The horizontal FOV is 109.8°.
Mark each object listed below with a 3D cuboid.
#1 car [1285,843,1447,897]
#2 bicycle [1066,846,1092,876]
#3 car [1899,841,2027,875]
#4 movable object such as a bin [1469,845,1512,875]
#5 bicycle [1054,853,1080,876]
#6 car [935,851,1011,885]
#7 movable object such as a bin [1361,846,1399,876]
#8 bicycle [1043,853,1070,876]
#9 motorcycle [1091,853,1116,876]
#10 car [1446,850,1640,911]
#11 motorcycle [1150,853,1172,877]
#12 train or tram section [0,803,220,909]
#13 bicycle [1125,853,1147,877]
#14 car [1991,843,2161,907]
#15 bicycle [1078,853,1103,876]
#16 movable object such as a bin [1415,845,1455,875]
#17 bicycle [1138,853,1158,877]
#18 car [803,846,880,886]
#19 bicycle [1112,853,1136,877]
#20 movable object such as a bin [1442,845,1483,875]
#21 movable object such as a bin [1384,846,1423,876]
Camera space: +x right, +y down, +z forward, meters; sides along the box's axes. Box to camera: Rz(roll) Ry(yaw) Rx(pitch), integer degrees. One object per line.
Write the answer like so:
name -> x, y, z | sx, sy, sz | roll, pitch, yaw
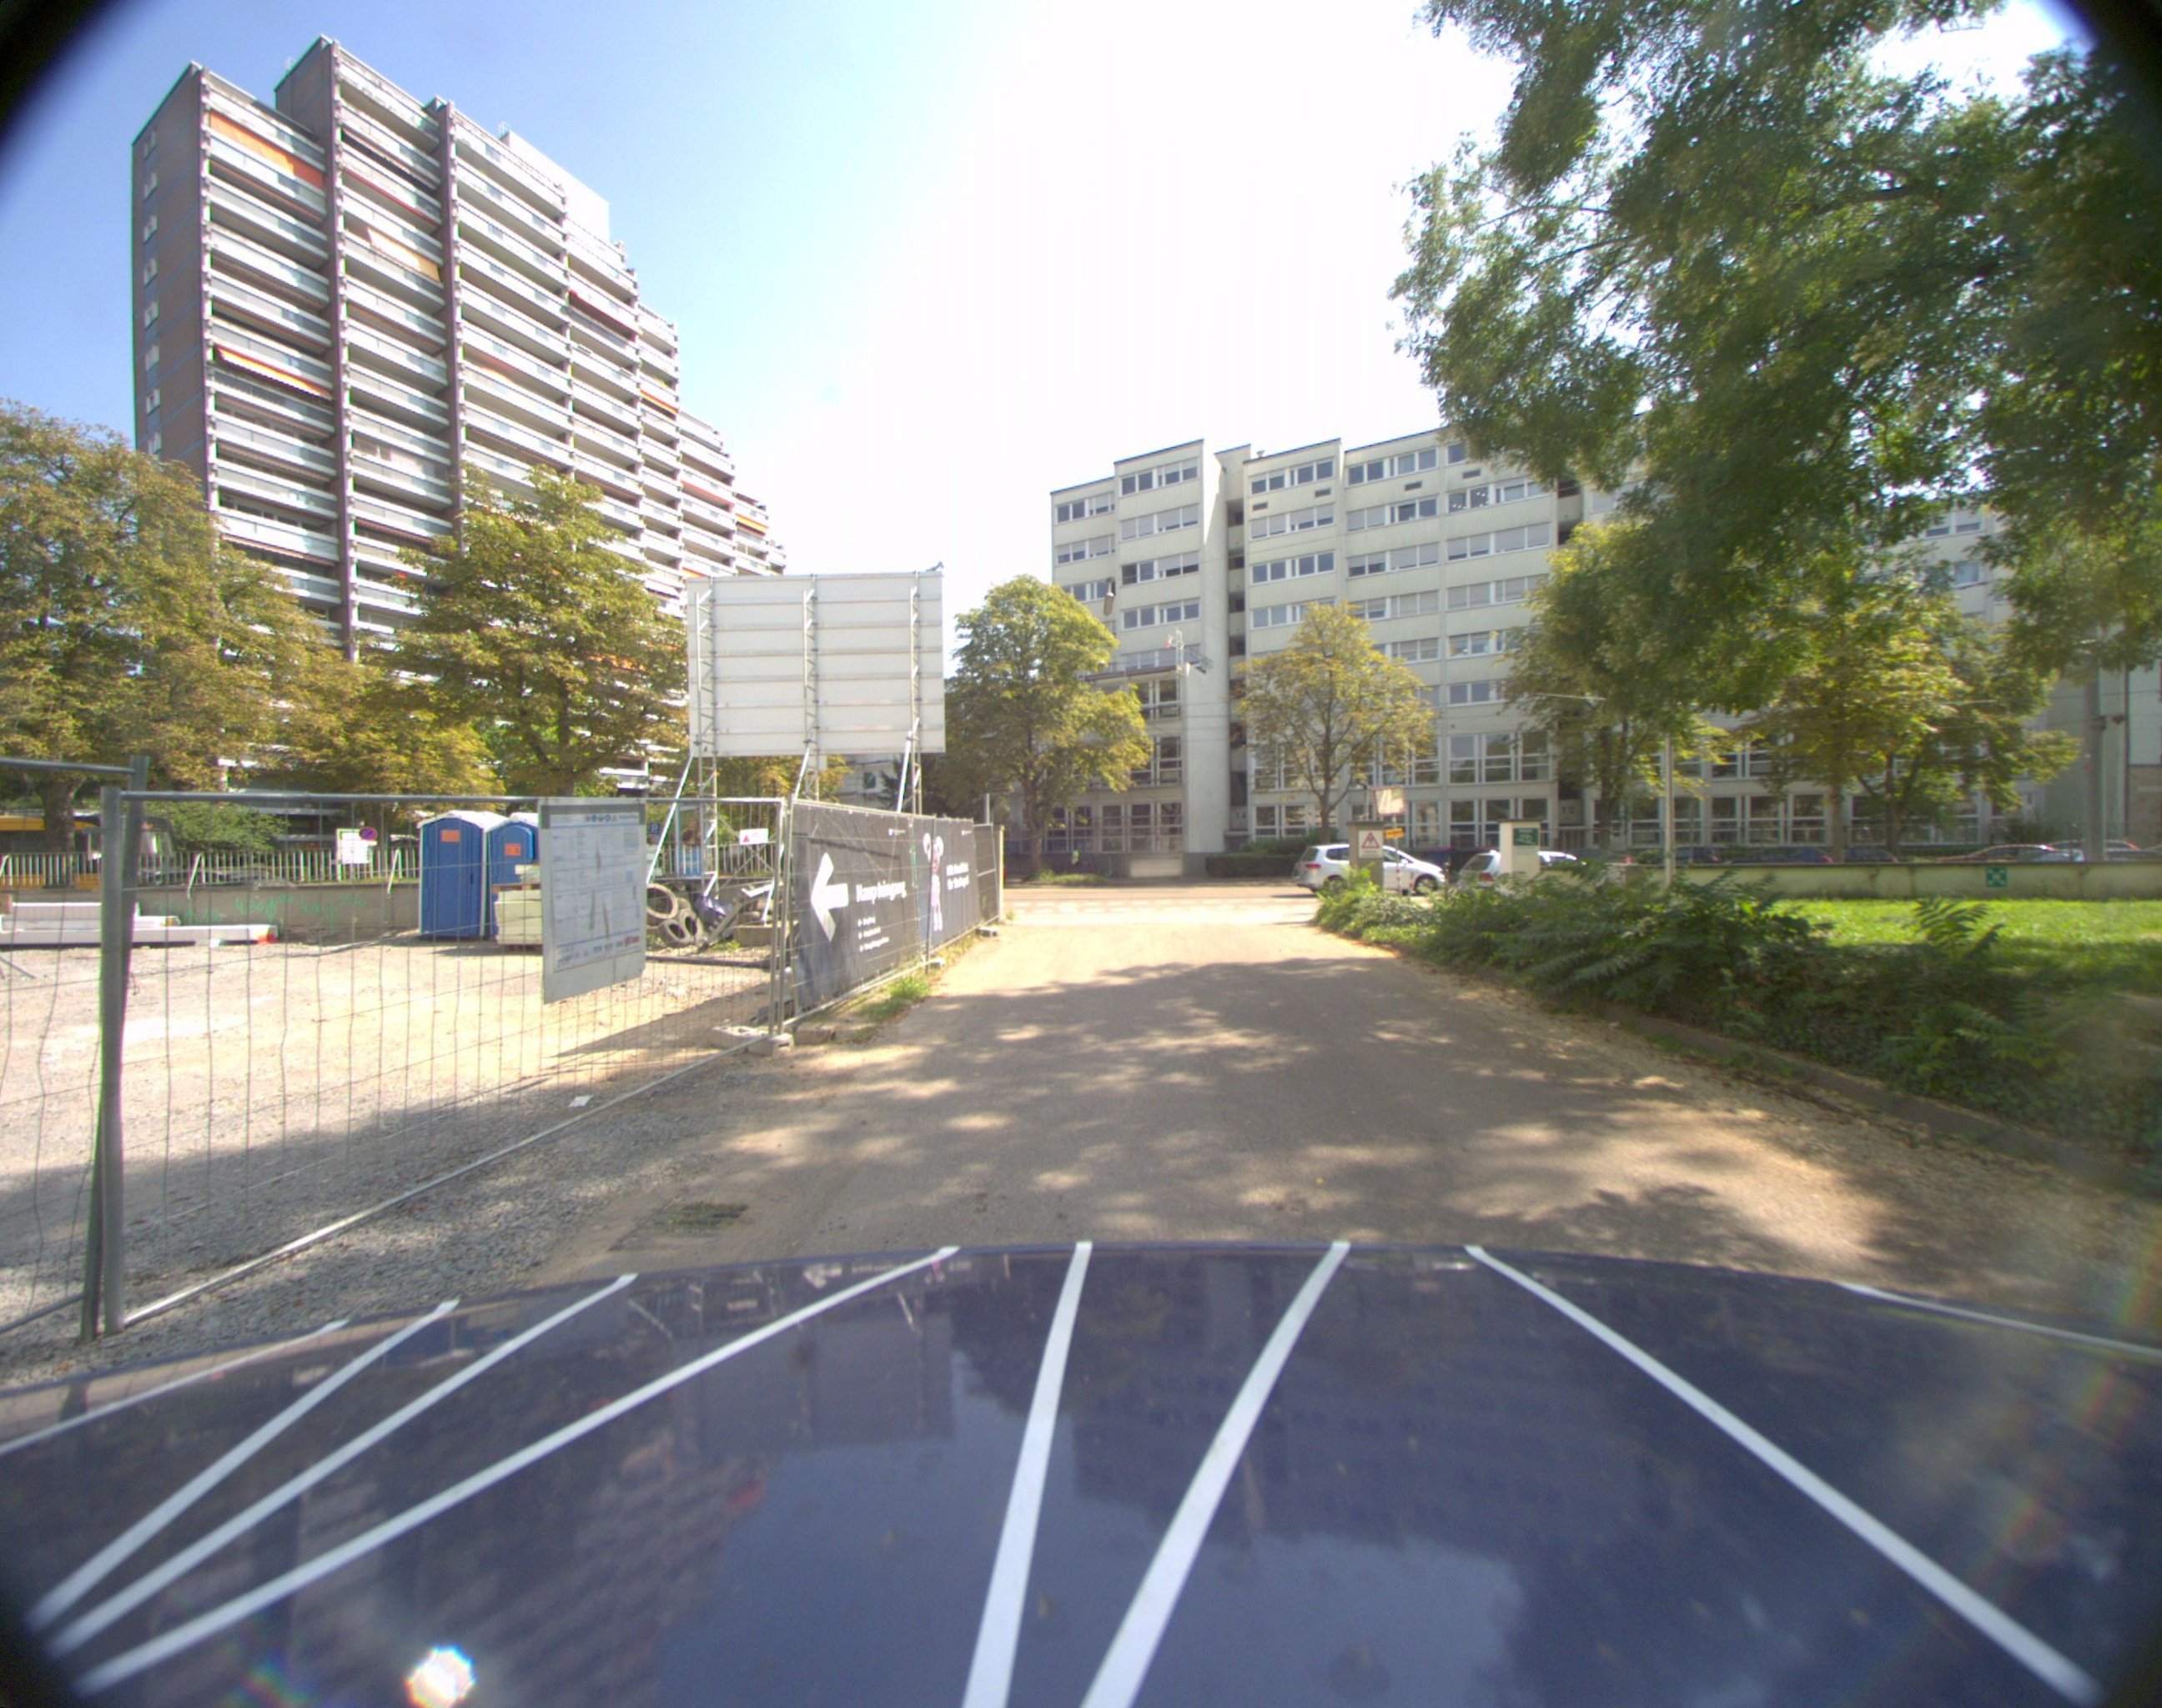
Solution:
car -> 8.928, 0.487, 24.094 | 4.358, 1.551, 2.000 | -1, 1, 2
bicycle -> -0.072, 0.378, 42.005 | 0.600, 1.517, 2.349 | 1, 3, 21
car -> 39.675, 0.155, 34.263 | 1.680, 1.443, 3.660 | -1, 2, -40
movable object such as a bin -> 21.696, 0.300, 40.281 | 1.353, 1.550, 1.688 | -1, 0, 0
bicycle -> -0.754, 0.557, 42.274 | 0.600, 1.153, 2.349 | 1, 3, 21
car -> -5.186, 0.626, 36.086 | 1.724, 1.499, 3.849 | -1, 0, -42
movable object such as a bin -> 15.684, 0.360, 39.925 | 1.353, 1.550, 1.688 | -1, 0, 0
bicycle -> -1.339, 0.547, 42.508 | 0.600, 1.153, 2.349 | 1, 3, 21
motorcycle -> 1.264, 0.548, 41.617 | 0.742, 1.148, 2.009 | 1, 3, 21
car -> 11.448, 0.636, 19.033 | 3.729, 1.437, 1.798 | 0, 0, 4
motorcycle -> 4.268, 0.547, 40.467 | 0.693, 1.176, 1.847 | 1, 3, 21
train or tram section -> -40.648, 0.111, 28.723 | 12.400, 3.683, 3.508 | -1, 1, 2
bicycle -> 2.983, 0.552, 40.847 | 0.620, 1.163, 2.348 | 0, 3, 19
car -> 25.683, 0.496, 19.058 | 3.638, 1.503, 1.646 | 0, 1, 1
bicycle -> 0.552, 0.560, 41.786 | 0.600, 1.163, 2.349 | 1, 3, 21
movable object such as a bin -> 18.820, 0.324, 40.453 | 1.353, 1.550, 1.688 | -1, 0, 0
bicycle -> 3.598, 0.550, 40.630 | 0.561, 1.163, 2.348 | 0, 3, 18
car -> -11.308, 0.524, 35.704 | 1.829, 1.761, 4.273 | -1, 1, -42
bicycle -> 2.332, 0.566, 41.042 | 0.620, 1.163, 2.348 | 0, 3, 19
movable object such as a bin -> 20.221, 0.309, 40.326 | 1.353, 1.550, 1.688 | -1, 0, 0
movable object such as a bin -> 17.128, 0.344, 40.355 | 1.353, 1.550, 1.688 | -1, 0, 0
